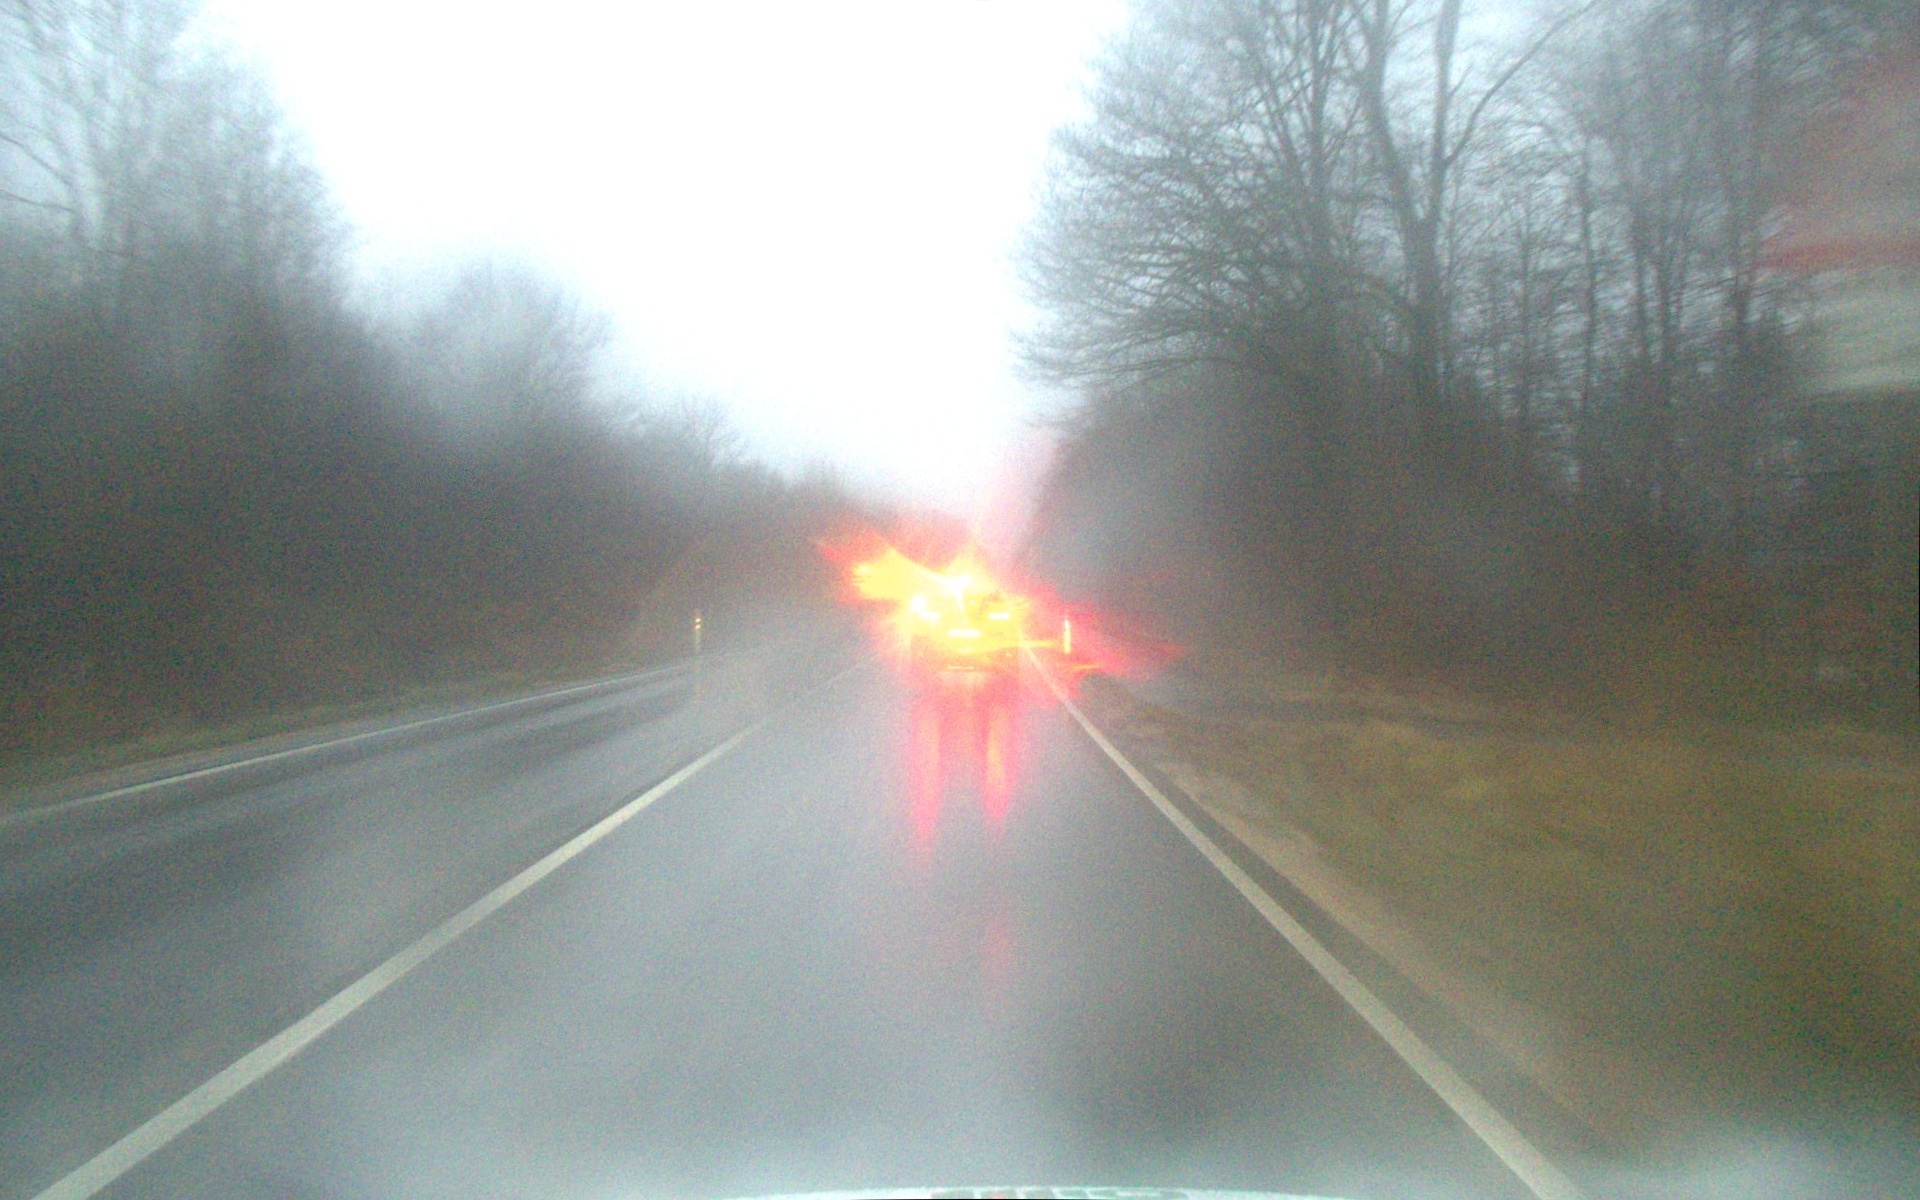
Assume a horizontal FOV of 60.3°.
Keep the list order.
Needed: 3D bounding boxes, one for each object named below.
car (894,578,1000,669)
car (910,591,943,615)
[{"bbox_3d":[-0.166,0.361,27.712,1.644,1.414,4.098,0,0,1],"label":"car"},{"bbox_3d":[-2.004,0.176,100.779,1.776,1.464,4.099,0,0,2],"label":"car"}]
